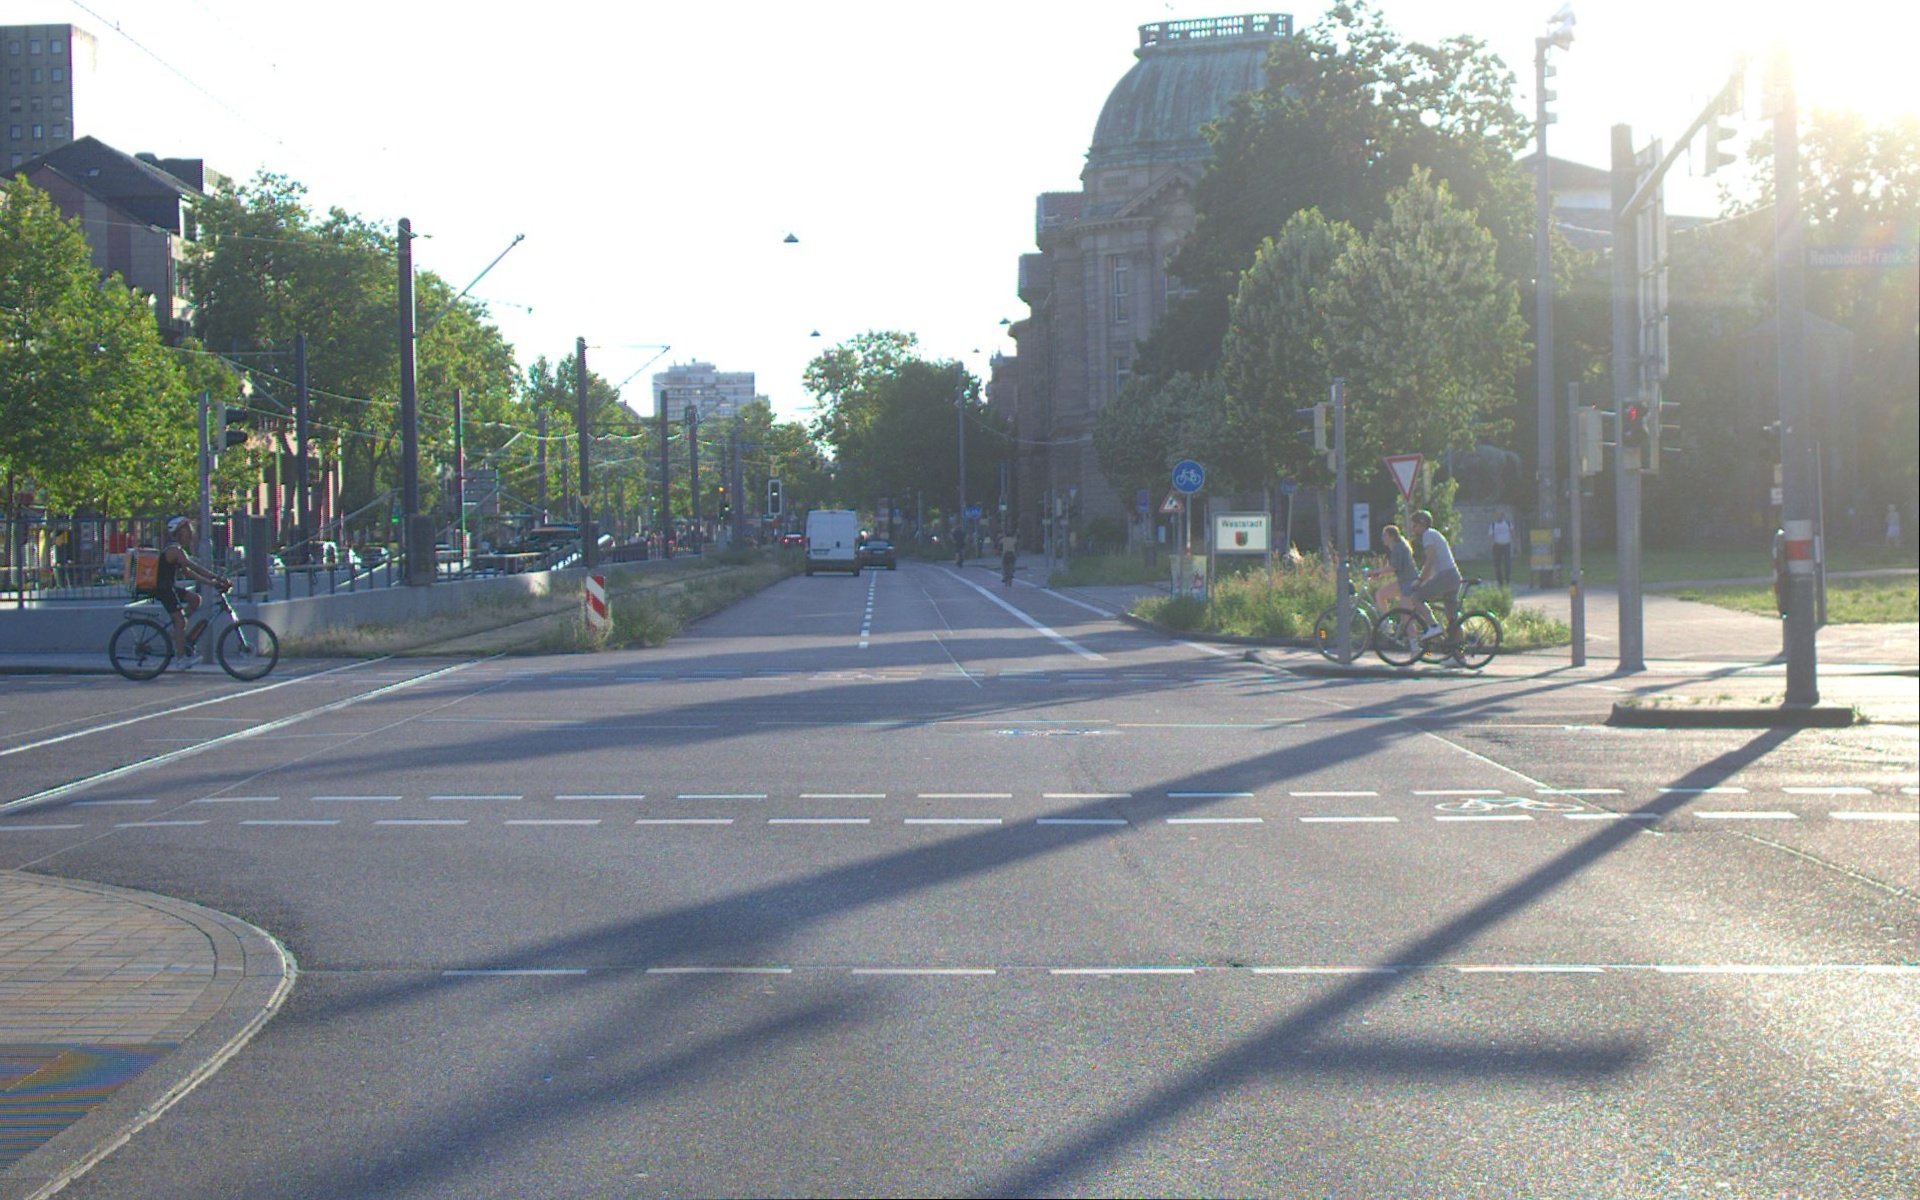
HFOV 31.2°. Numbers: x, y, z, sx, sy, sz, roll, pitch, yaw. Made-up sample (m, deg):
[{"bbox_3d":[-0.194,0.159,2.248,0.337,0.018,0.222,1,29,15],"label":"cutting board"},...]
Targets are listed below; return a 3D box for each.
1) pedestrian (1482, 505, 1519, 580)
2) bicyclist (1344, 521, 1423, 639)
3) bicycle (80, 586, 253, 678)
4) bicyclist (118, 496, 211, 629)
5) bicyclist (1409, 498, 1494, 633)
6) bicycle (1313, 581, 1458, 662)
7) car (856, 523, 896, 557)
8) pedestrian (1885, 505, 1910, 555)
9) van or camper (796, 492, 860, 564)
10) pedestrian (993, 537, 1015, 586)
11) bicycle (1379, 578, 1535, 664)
[{"bbox_3d":[11.770,-1.263,74.873,0.682,1.605,0.613,-1,2,-1],"label":"pedestrian"},{"bbox_3d":[5.280,-0.253,42.916,0.853,1.437,0.663,-1,2,-3],"label":"bicyclist"},{"bbox_3d":[-8.799,0.356,38.138,1.728,0.966,0.704,1,3,-27],"label":"bicycle"},{"bbox_3d":[-8.794,-0.422,38.008,0.853,1.437,0.663,0,2,-27],"label":"bicyclist"},{"bbox_3d":[5.847,-0.416,40.876,0.799,1.566,0.662,0,3,27],"label":"bicyclist"},{"bbox_3d":[5.308,0.265,42.938,1.718,0.966,0.609,0,2,-3],"label":"bicycle"},{"bbox_3d":[-3.848,-2.763,157.535,1.737,1.381,4.001,-1,2,-1],"label":"car"},{"bbox_3d":[31.956,-2.384,117.191,0.798,1.696,0.800,0,1,14],"label":"pedestrian"},{"bbox_3d":[-5.012,-2.765,130.948,2.263,2.616,4.503,-1,2,0],"label":"van or camper"},{"bbox_3d":[1.356,-1.189,105.539,0.616,1.470,0.800,-1,2,3],"label":"pedestrian"},{"bbox_3d":[5.903,0.246,40.864,1.731,0.966,0.608,1,3,27],"label":"bicycle"}]
